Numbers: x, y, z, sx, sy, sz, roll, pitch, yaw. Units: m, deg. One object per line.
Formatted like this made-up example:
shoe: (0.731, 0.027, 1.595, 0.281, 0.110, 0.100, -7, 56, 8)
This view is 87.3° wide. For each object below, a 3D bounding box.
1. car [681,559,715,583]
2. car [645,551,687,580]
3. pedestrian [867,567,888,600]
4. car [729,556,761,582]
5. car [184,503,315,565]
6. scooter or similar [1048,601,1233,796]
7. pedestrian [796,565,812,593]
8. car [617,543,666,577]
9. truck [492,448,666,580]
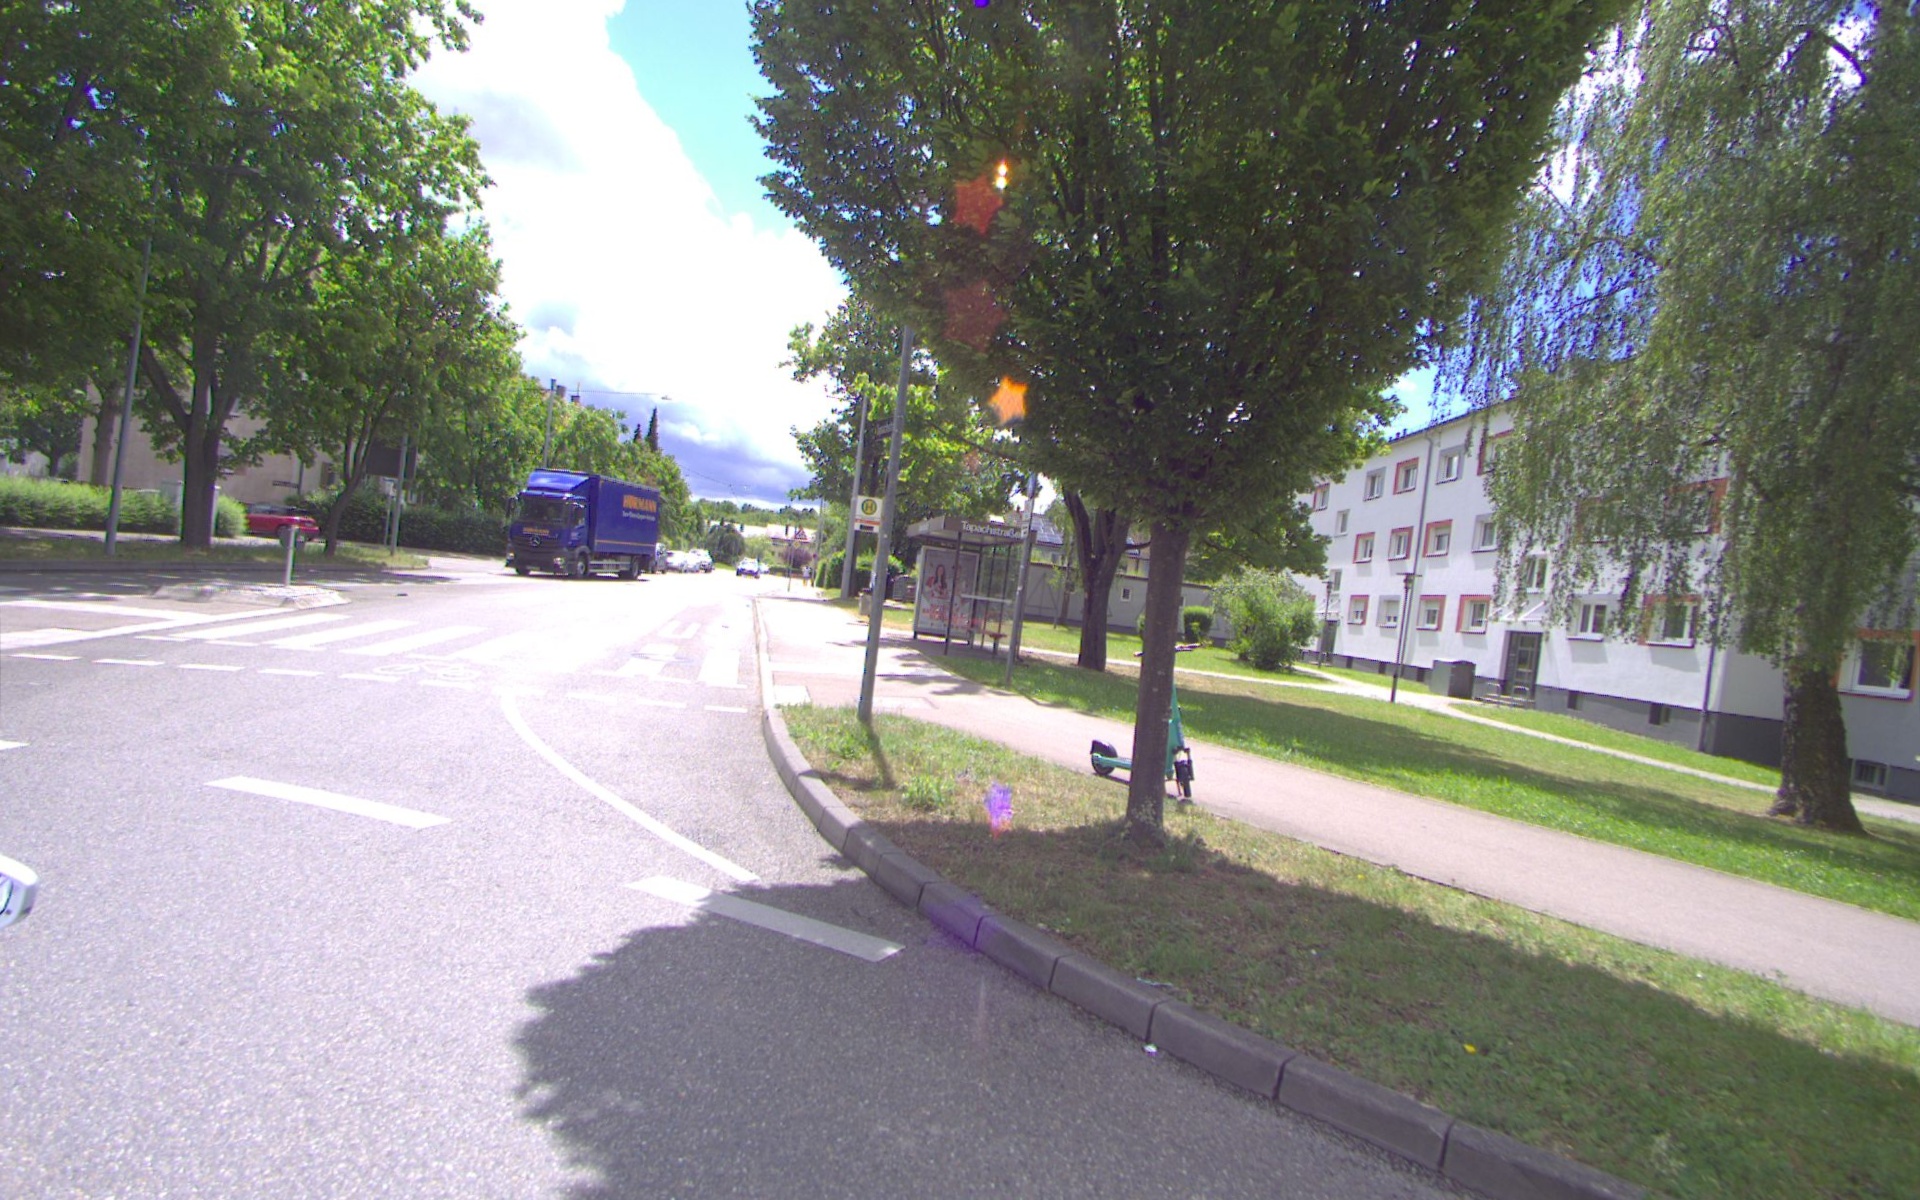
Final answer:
car: (-20.857, -2.258, 80.250, 1.966, 1.571, 3.995, 7, -1, -8)
car: (-19.913, -2.323, 68.269, 1.966, 1.571, 3.995, 7, -1, -8)
pedestrian: (-4.304, -0.878, 52.608, 0.887, 1.602, 0.660, 7, 2, 0)
car: (-18.170, -2.616, 85.088, 1.965, 1.802, 3.997, 7, -1, -5)
car: (-30.312, -2.782, 43.044, 3.929, 1.965, 2.017, 8, 0, -4)
scooter or similar: (1.473, 0.782, 8.410, 0.482, 1.361, 1.372, 4, 4, -40)
pedestrian: (-12.135, -1.621, 78.370, 1.007, 2.040, 1.039, 6, 2, -10)
car: (-18.629, -2.299, 59.029, 1.966, 1.571, 3.995, 7, -1, -8)
truck: (-15.083, -3.158, 40.913, 2.737, 4.205, 9.796, 6, 0, 1)
